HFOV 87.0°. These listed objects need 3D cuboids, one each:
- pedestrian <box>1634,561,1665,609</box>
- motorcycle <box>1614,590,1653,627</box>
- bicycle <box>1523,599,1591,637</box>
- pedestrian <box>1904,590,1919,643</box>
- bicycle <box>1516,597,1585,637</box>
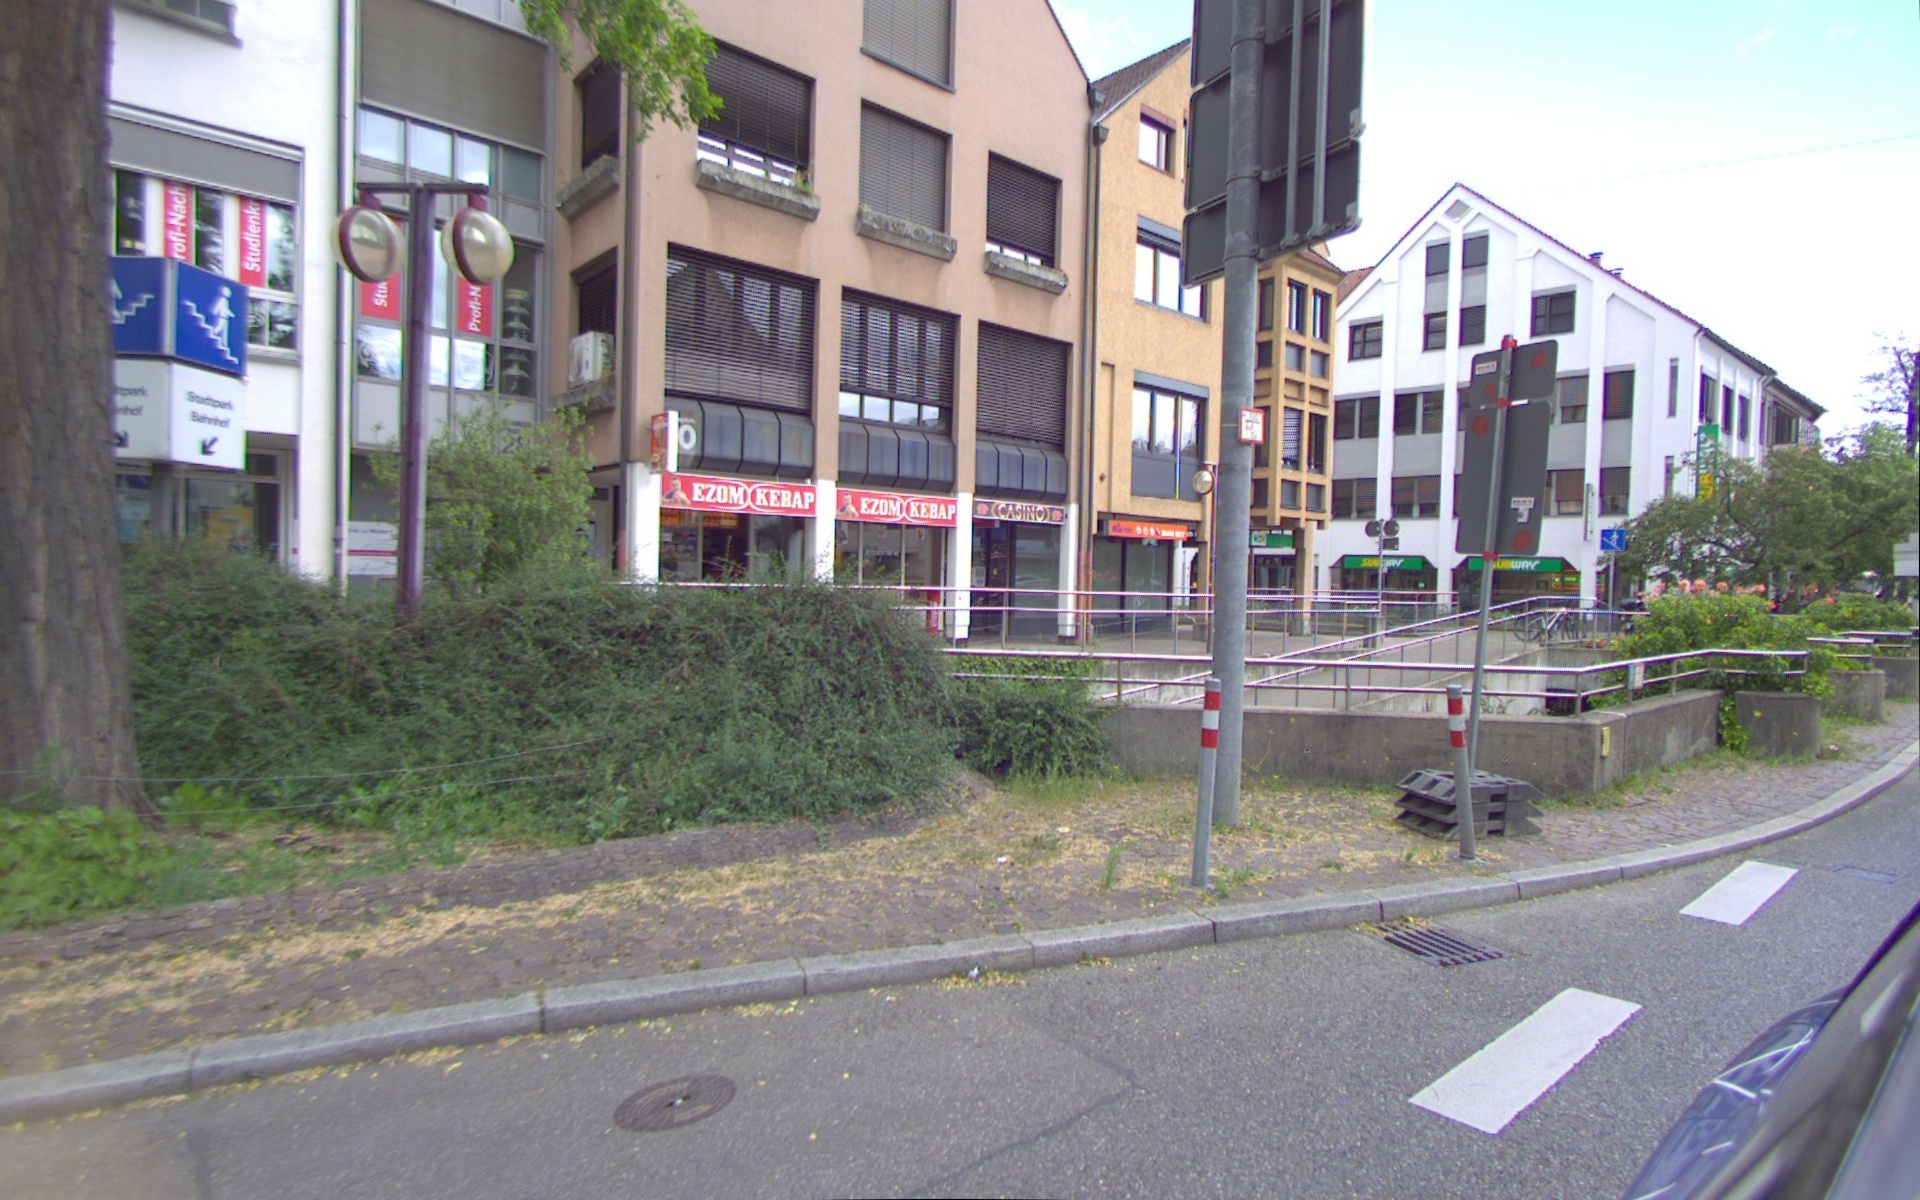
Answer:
[{"bbox_3d":[26.631,-0.573,39.091,0.772,1.846,0.869,0,0,-45],"label":"pedestrian"},{"bbox_3d":[20.391,0.249,30.624,1.961,1.081,0.464,0,1,-41],"label":"motorcycle"},{"bbox_3d":[16.676,0.485,28.266,1.584,0.981,0.455,2,1,36],"label":"bicycle"},{"bbox_3d":[29.607,0.505,31.185,0.672,1.597,0.653,1,1,-40],"label":"pedestrian"},{"bbox_3d":[16.222,0.460,27.821,1.584,1.014,0.409,2,1,37],"label":"bicycle"}]
